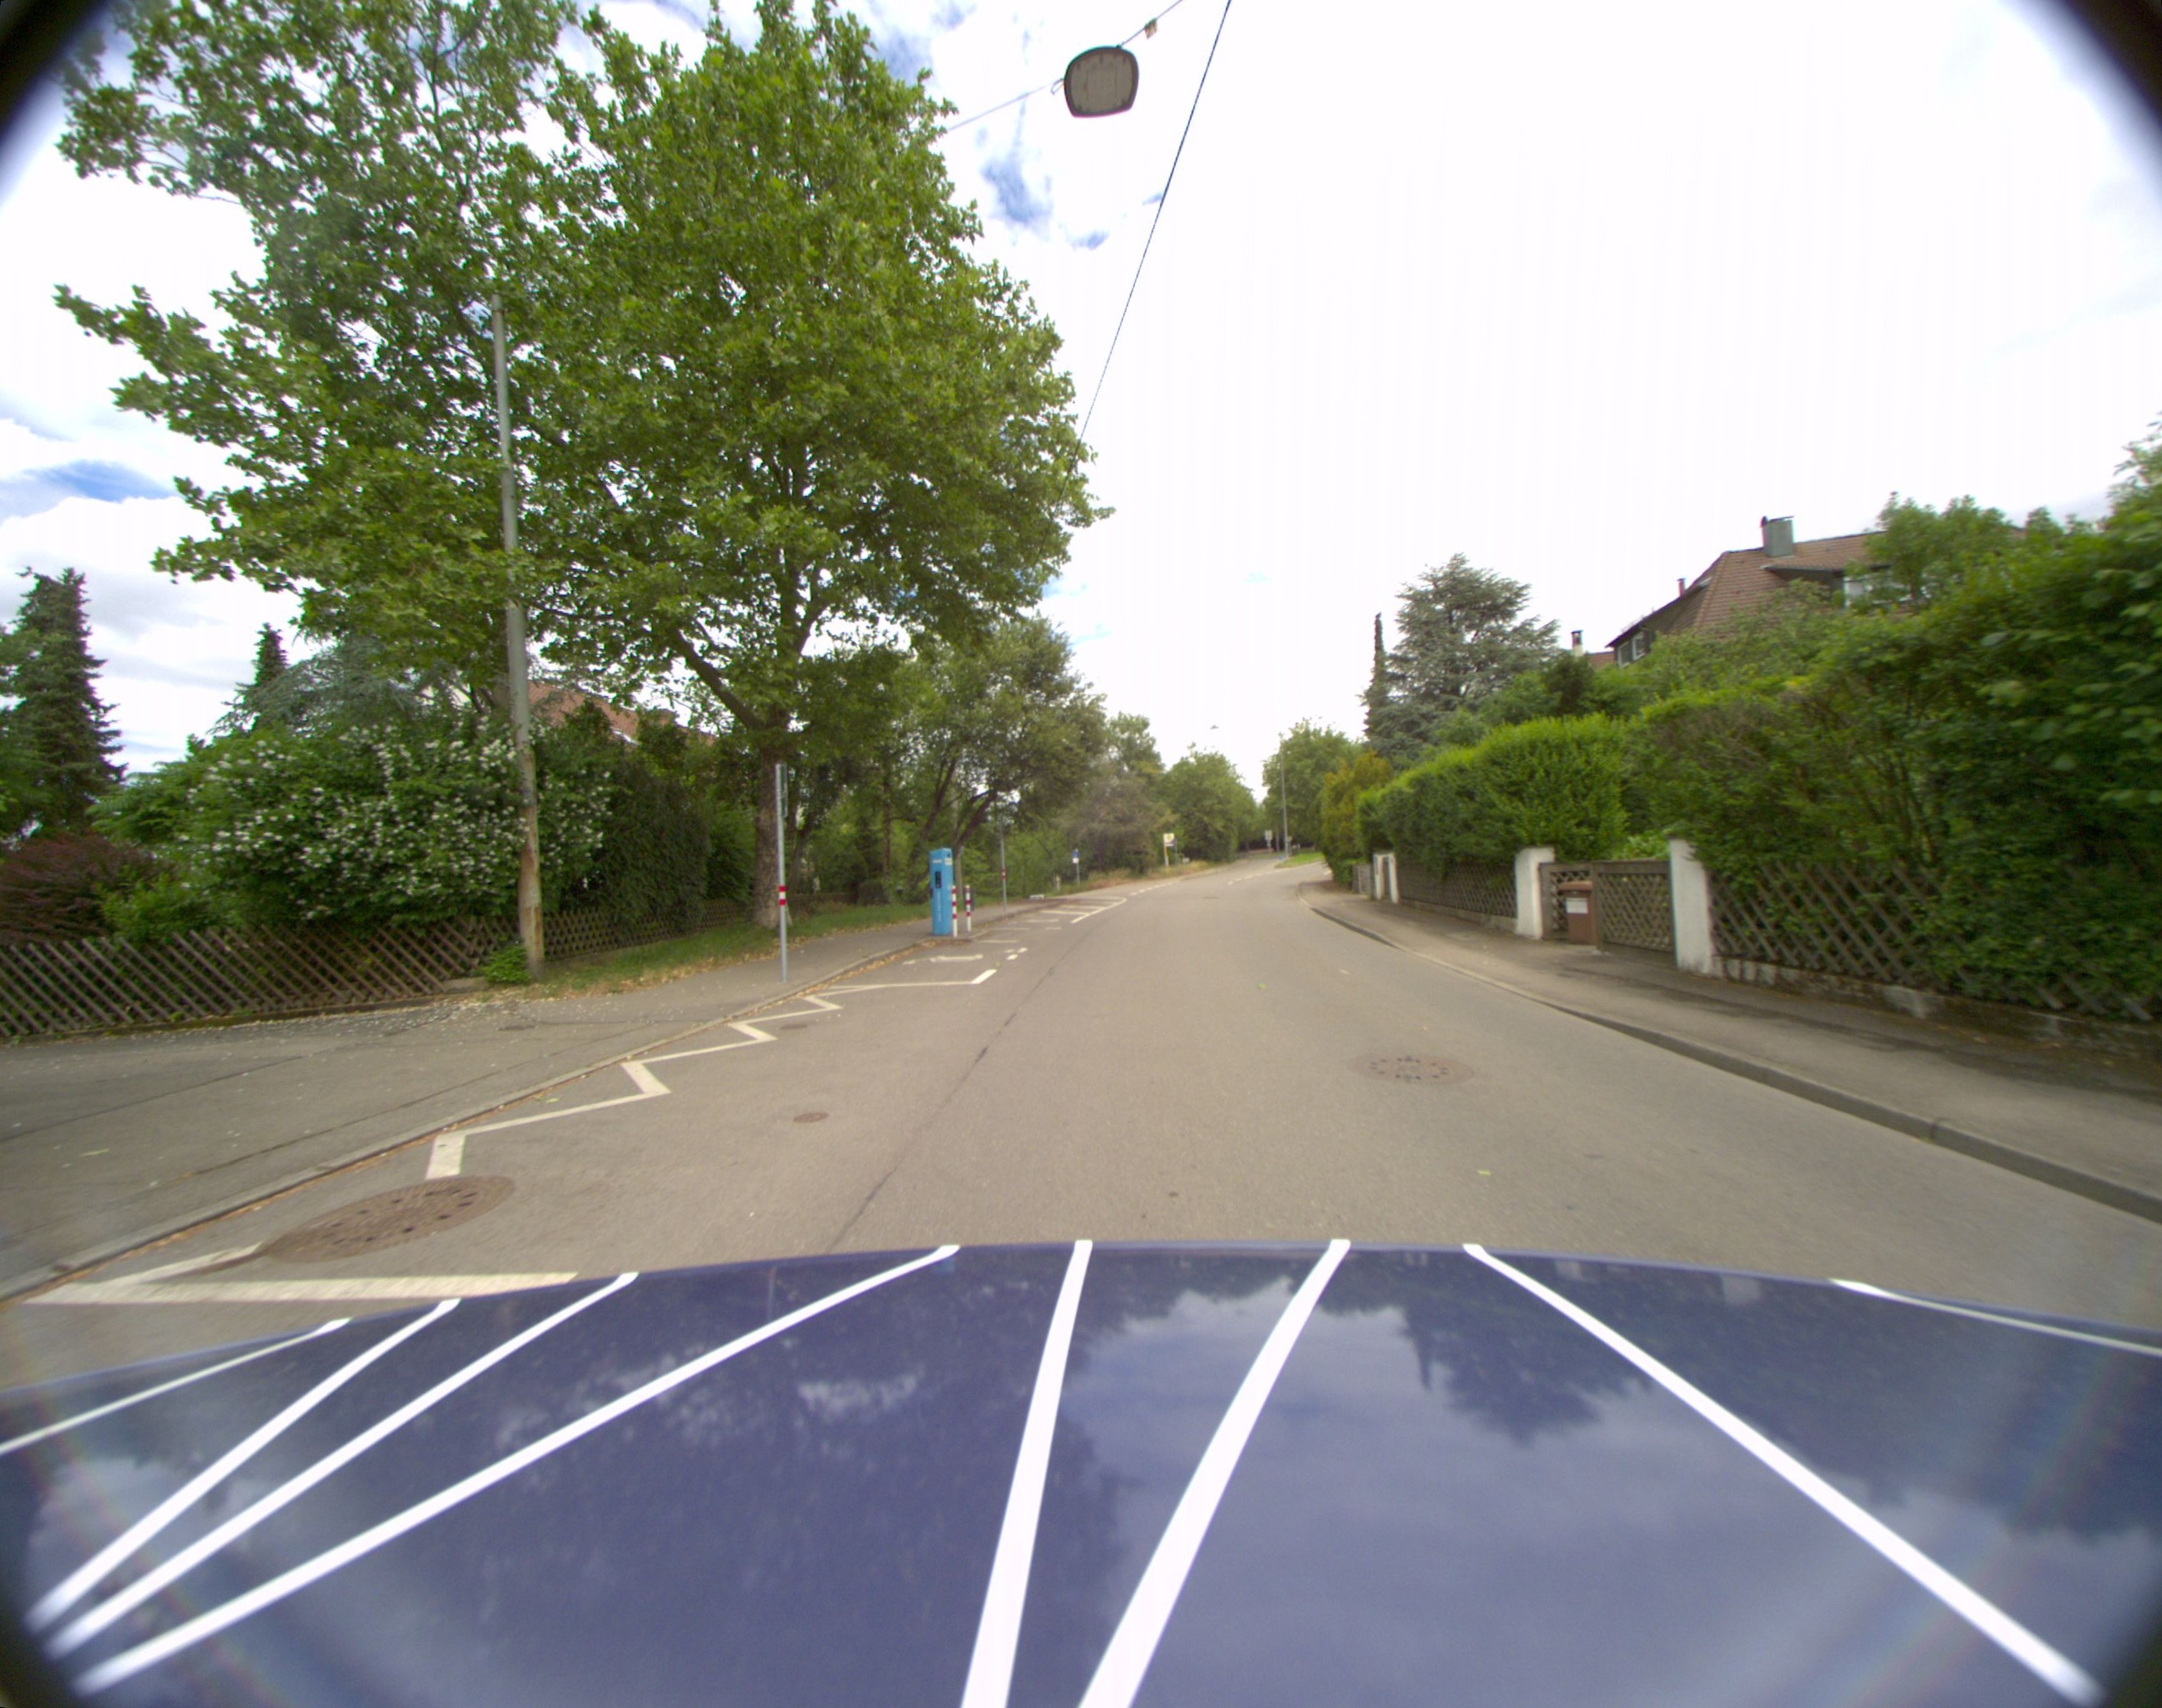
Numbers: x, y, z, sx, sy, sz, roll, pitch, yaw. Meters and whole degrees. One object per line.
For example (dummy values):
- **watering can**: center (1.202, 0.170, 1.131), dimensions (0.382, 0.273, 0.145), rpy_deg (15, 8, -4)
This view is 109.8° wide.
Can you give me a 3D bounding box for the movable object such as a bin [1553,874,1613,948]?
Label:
- **movable object such as a bin**: center (7.257, 0.811, 11.000), dimensions (0.448, 1.025, 0.499), rpy_deg (-2, -2, -11)
